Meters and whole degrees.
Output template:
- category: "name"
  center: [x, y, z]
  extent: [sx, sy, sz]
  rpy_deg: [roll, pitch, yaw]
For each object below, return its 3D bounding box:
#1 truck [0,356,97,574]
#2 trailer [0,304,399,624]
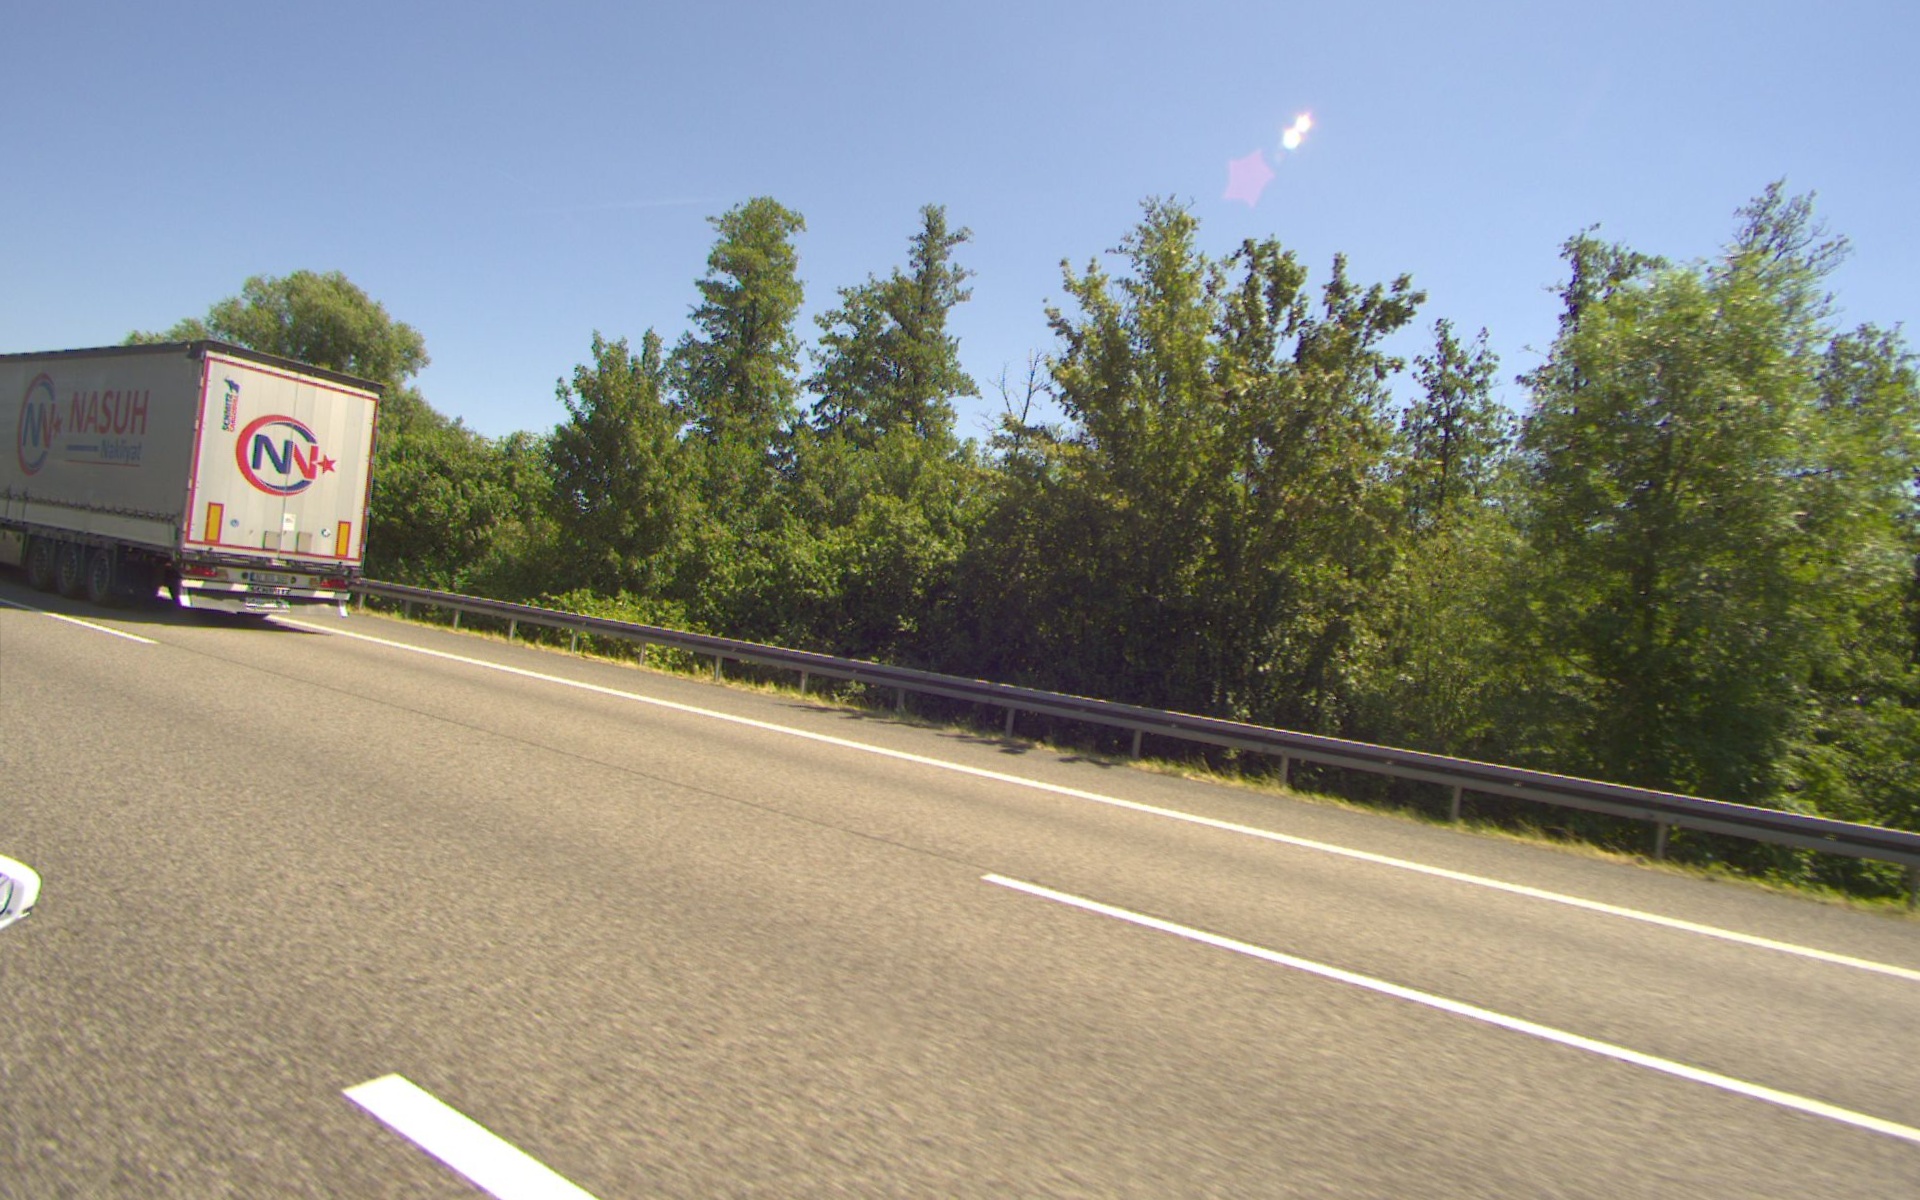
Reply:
- category: "truck"
  center: [-22.197, -3.107, 22.458]
  extent: [5.346, 4.337, 2.610]
  rpy_deg: [7, -1, 32]
- category: "trailer"
  center: [-15.938, -2.539, 18.704]
  extent: [13.823, 4.311, 2.629]
  rpy_deg: [6, -1, 30]
